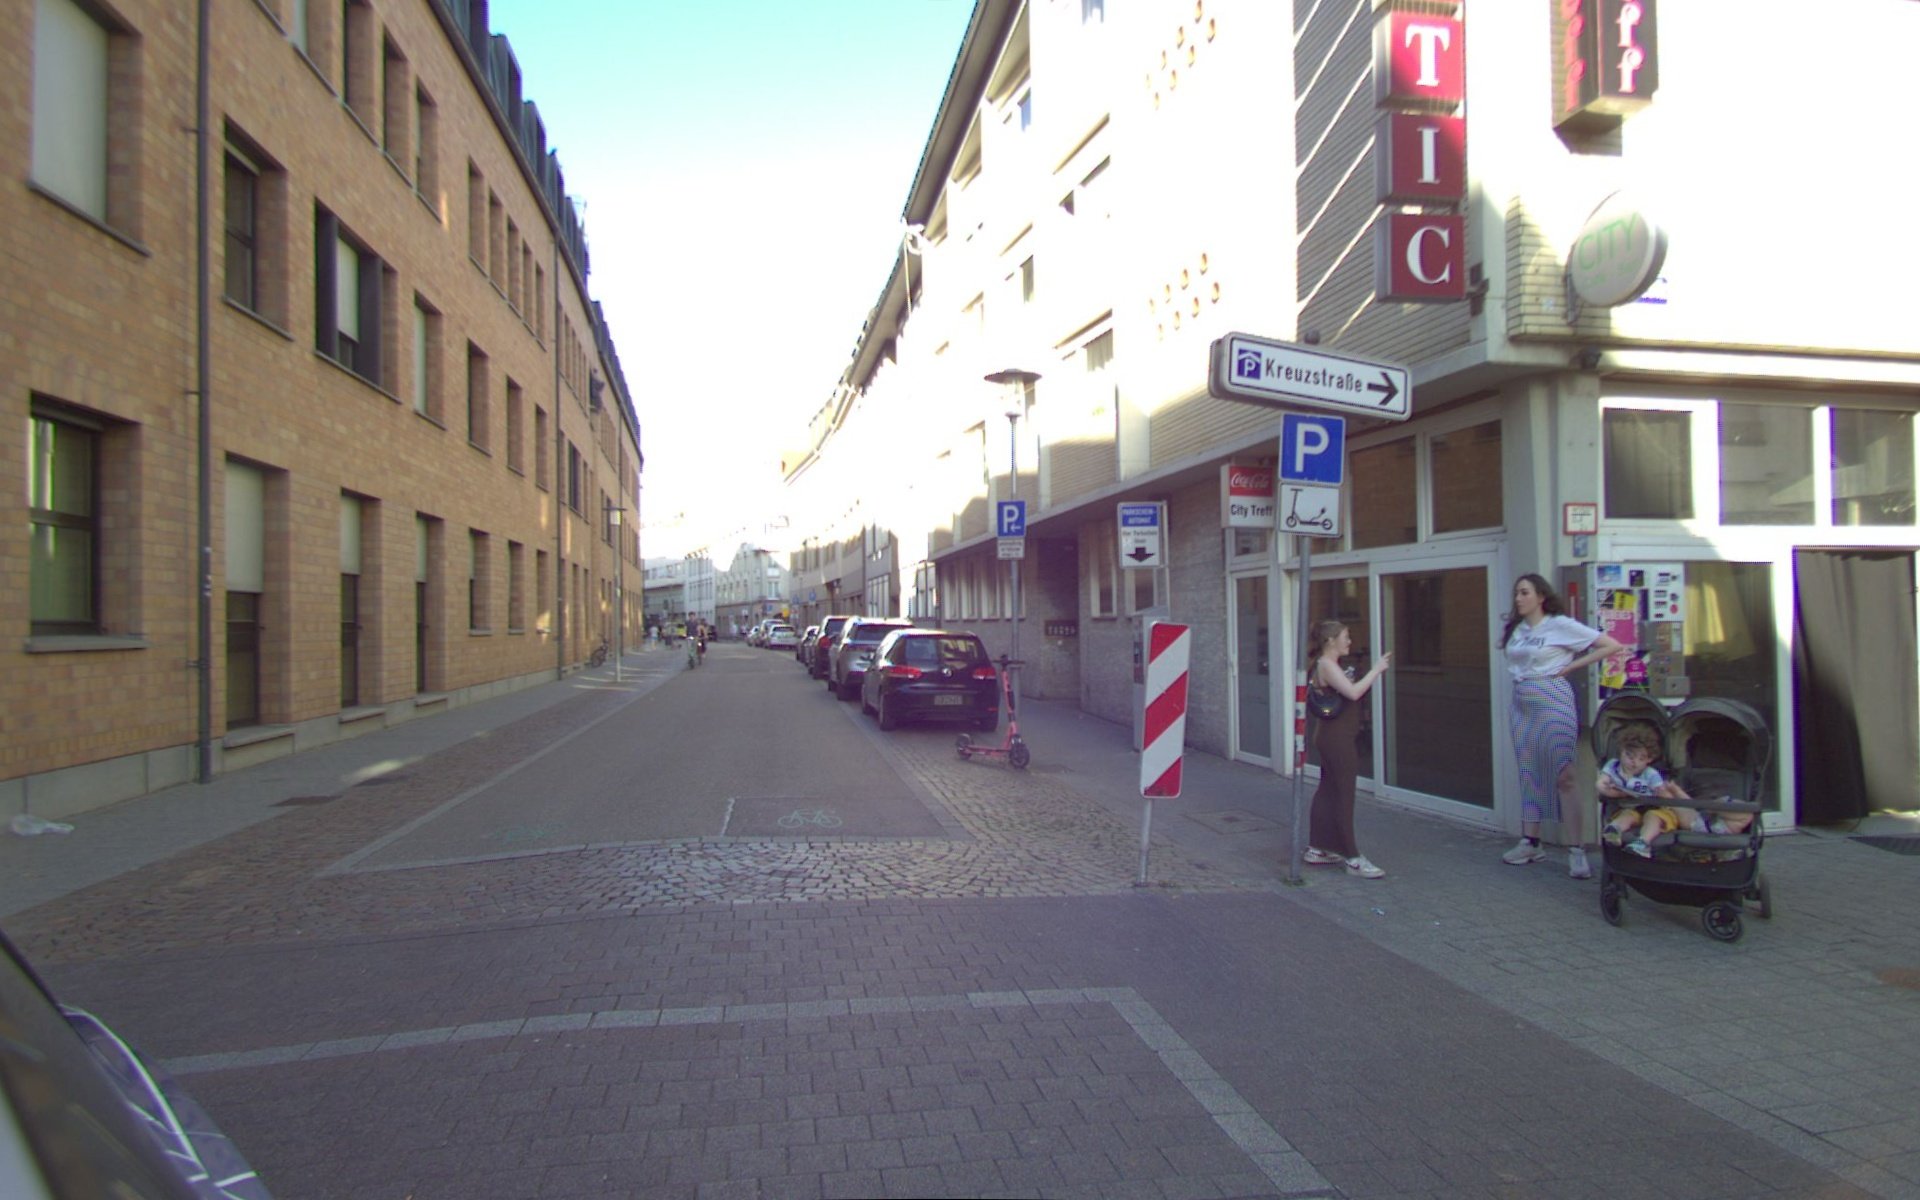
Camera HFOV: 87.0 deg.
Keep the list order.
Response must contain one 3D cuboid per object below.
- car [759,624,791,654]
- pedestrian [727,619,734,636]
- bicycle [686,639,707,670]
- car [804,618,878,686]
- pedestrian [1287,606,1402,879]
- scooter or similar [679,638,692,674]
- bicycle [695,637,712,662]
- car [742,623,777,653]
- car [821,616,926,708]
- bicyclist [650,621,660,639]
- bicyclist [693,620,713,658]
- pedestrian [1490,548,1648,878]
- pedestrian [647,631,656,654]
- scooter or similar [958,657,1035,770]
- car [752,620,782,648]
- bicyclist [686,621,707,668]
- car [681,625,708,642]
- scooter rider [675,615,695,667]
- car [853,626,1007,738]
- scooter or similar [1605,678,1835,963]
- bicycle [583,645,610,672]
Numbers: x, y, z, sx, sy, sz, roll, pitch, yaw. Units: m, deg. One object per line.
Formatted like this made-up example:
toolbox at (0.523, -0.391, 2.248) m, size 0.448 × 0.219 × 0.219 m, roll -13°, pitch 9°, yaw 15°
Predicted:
car at (-11.108, 2.305, 60.675) m, size 1.665 × 1.692 × 3.516 m, roll 2°, pitch -2°, yaw -13°
pedestrian at (-20.112, 2.445, 88.743) m, size 0.562 × 1.490 × 0.475 m, roll 0°, pitch -1°, yaw -18°
bicycle at (-9.701, 2.005, 37.328) m, size 0.582 × 1.060 × 1.805 m, roll -3°, pitch -1°, yaw -11°
car at (-3.367, 1.403, 28.099) m, size 1.646 × 1.717 × 4.022 m, roll 2°, pitch -2°, yaw -11°
pedestrian at (2.399, 0.851, 6.303) m, size 0.508 × 1.591 × 0.528 m, roll -4°, pitch -1°, yaw 29°
scooter or similar at (-9.331, 1.889, 34.395) m, size 0.331 × 1.195 × 1.282 m, roll -3°, pitch -1°, yaw -14°
bicycle at (-11.296, 2.185, 44.610) m, size 0.565 × 1.059 × 1.839 m, roll 0°, pitch -2°, yaw -9°
car at (-14.476, 2.721, 72.878) m, size 1.966 × 2.029 × 4.012 m, roll 2°, pitch -2°, yaw -18°
car at (-1.878, 1.206, 20.776) m, size 1.646 × 1.674 × 4.090 m, roll 2°, pitch -2°, yaw -11°
bicyclist at (-28.596, 2.822, 94.823) m, size 0.760 × 1.668 × 0.960 m, roll -3°, pitch -1°, yaw -21°
bicyclist at (-11.316, 1.709, 44.600) m, size 0.639 × 1.570 × 1.112 m, roll -4°, pitch -1°, yaw -8°
pedestrian at (3.639, 0.637, 6.043) m, size 0.658 × 1.833 × 0.564 m, roll -4°, pitch -1°, yaw 36°
pedestrian at (-20.671, 2.847, 67.742) m, size 0.534 × 1.556 × 0.406 m, roll 1°, pitch -1°, yaw -12°
scooter or similar at (0.396, 1.230, 11.162) m, size 0.881 × 1.193 × 0.206 m, roll -2°, pitch -2°, yaw 39°
car at (-12.702, 2.206, 66.473) m, size 1.665 × 1.789 × 3.665 m, roll 2°, pitch -2°, yaw -13°
bicyclist at (-9.745, 1.651, 37.474) m, size 0.610 × 1.679 × 0.825 m, roll -3°, pitch -1°, yaw -11°
car at (-26.333, 3.318, 100.431) m, size 1.902 × 1.663 × 3.849 m, roll 0°, pitch -1°, yaw -25°
scooter rider at (-9.324, 1.401, 34.363) m, size 0.638 × 1.739 × 0.704 m, roll -1°, pitch -2°, yaw -14°
car at (-0.589, 1.185, 15.643) m, size 1.712 × 1.497 × 3.820 m, roll 2°, pitch -2°, yaw -11°
scooter or similar at (3.701, 1.007, 5.022) m, size 0.796 × 1.152 × 0.943 m, roll -2°, pitch 0°, yaw 32°
bicycle at (-13.092, 2.101, 36.483) m, size 0.632 × 0.888 × 2.563 m, roll 1°, pitch -1°, yaw -14°
